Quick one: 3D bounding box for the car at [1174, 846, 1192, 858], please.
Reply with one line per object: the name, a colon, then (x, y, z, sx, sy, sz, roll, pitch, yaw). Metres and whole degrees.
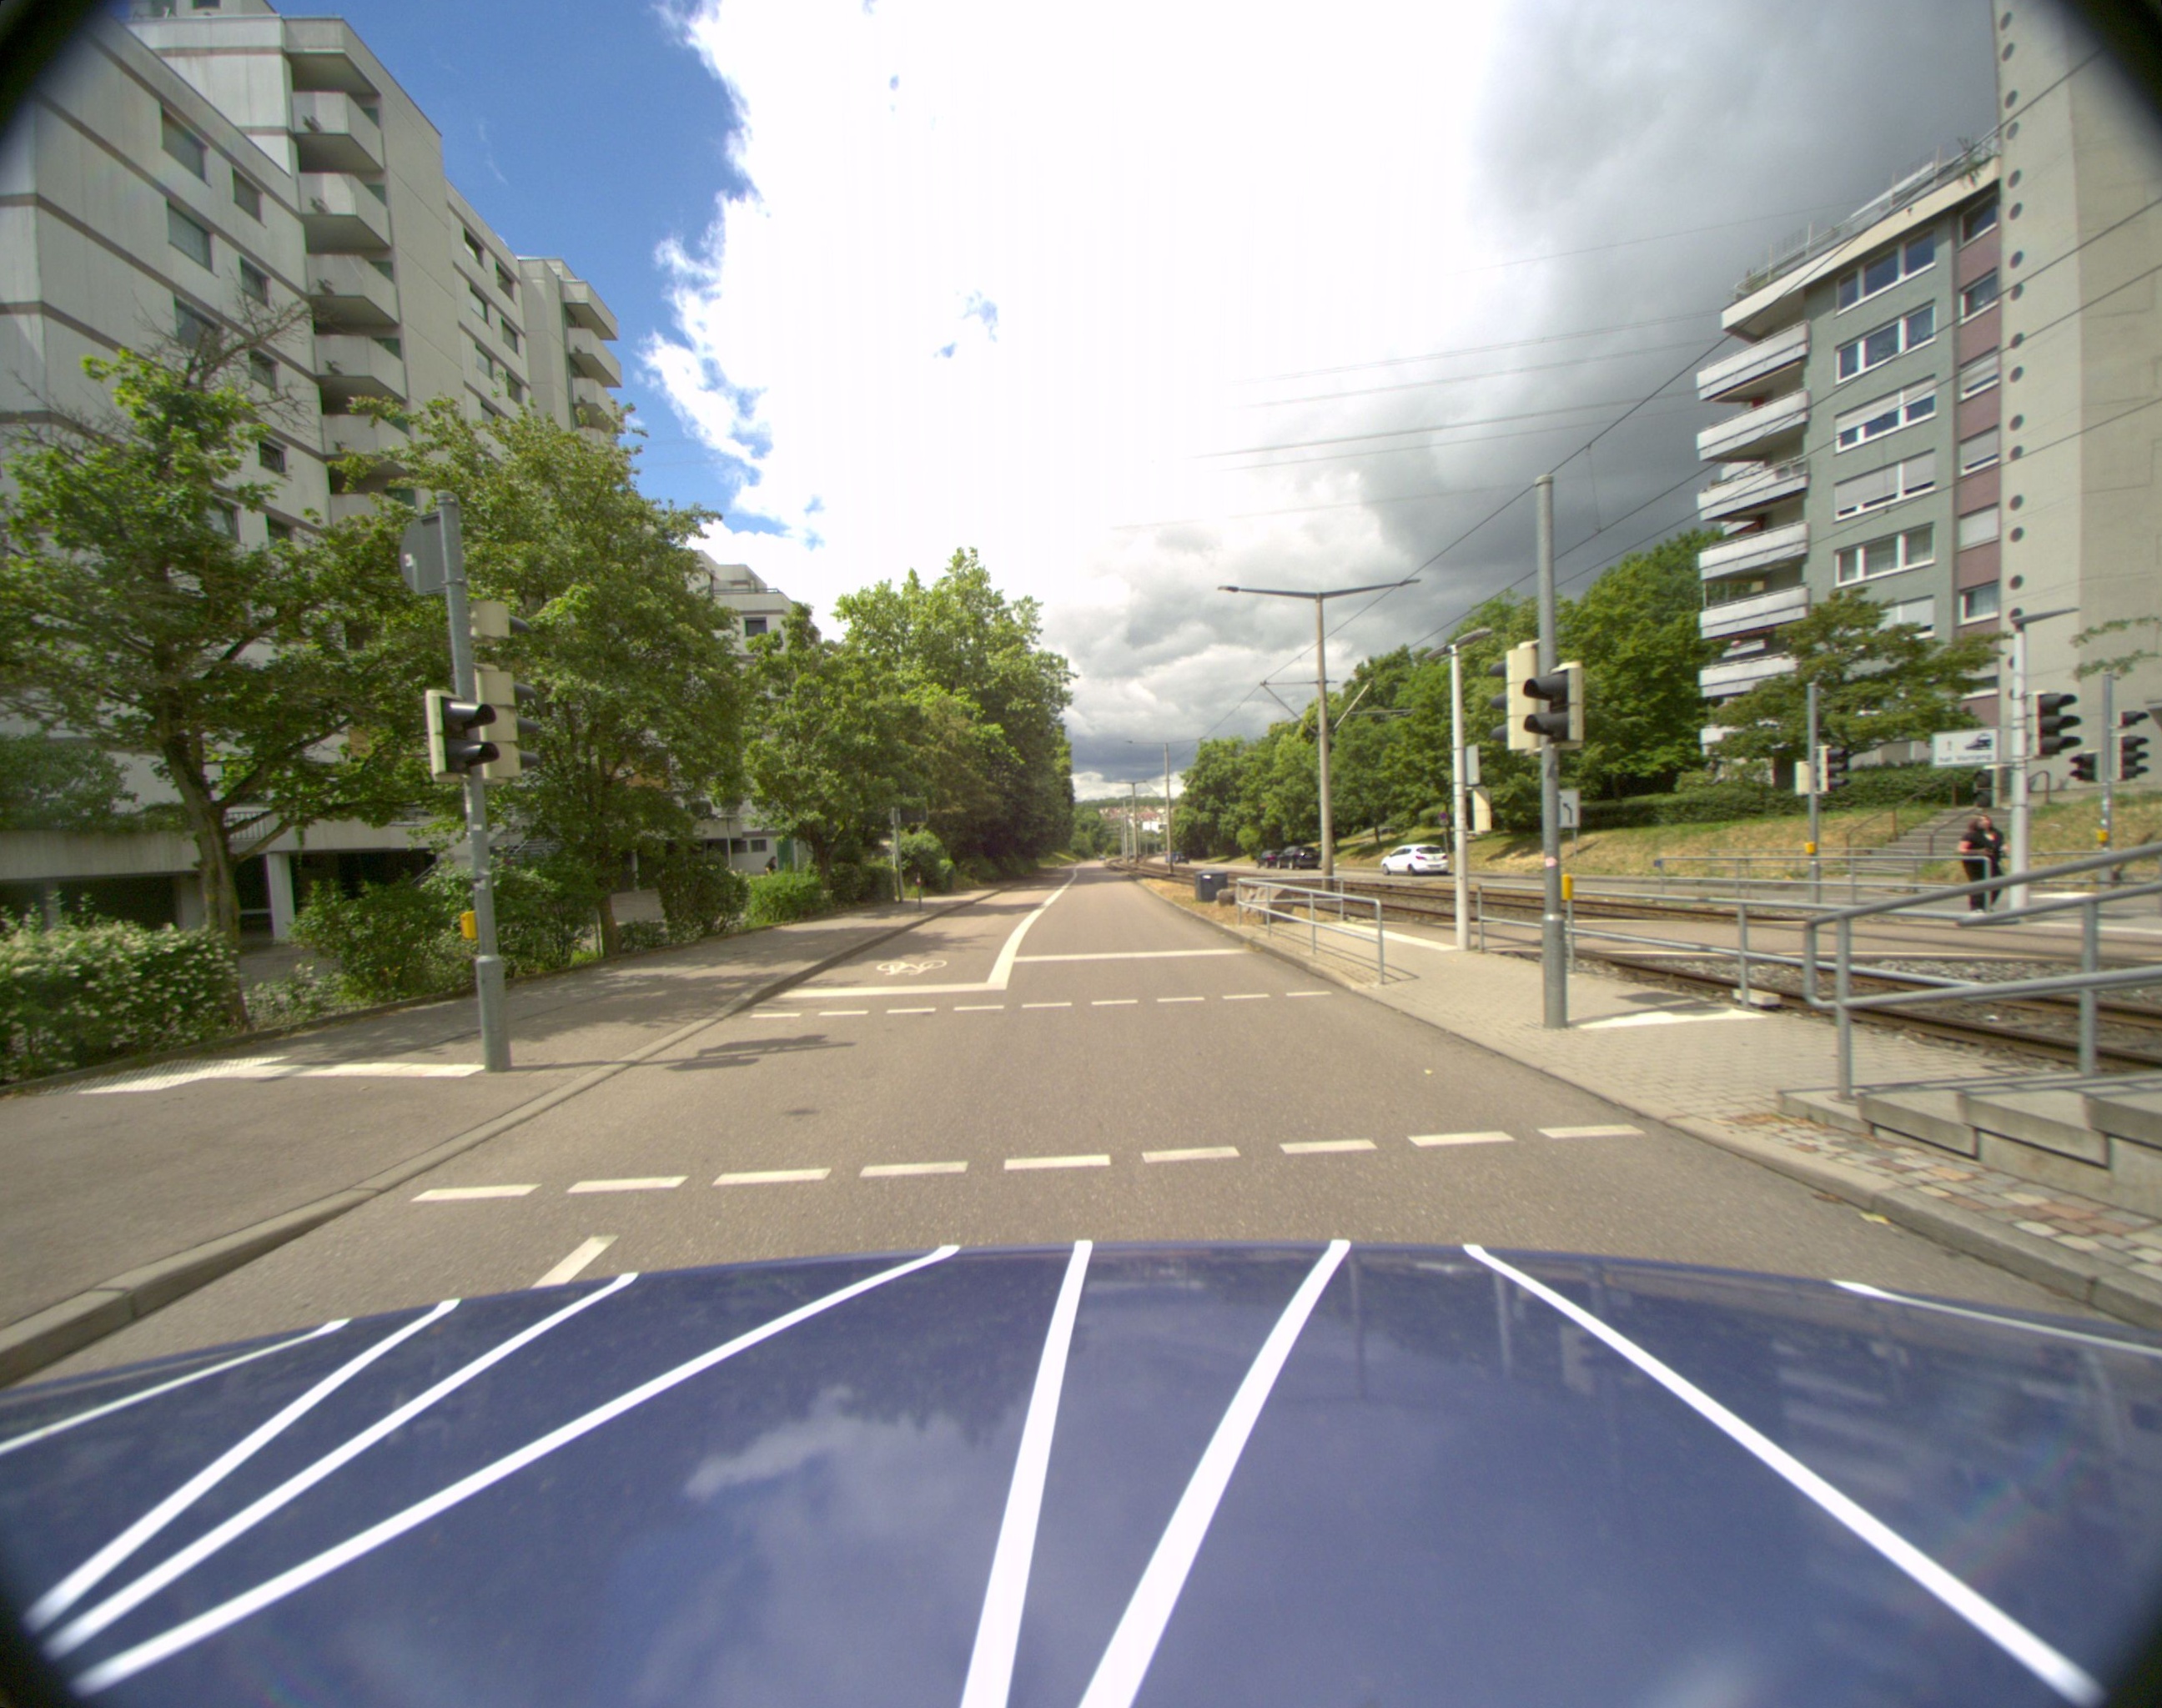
car: (12.716, -0.234, 95.180, 1.659, 1.503, 3.737, -2, 0, -2)

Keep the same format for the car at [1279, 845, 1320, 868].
car: (15.295, 0.144, 53.295, 1.659, 1.503, 3.737, -2, 0, -2)

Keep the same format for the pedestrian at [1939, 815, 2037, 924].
pedestrian: (13.584, 0.226, 11.407, 0.689, 1.554, 0.825, -3, 1, 32)

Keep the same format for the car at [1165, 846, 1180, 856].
car: (13.376, -0.403, 111.065, 1.636, 1.446, 3.737, -2, 0, -2)

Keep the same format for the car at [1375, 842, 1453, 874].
car: (15.934, 0.200, 36.554, 1.659, 1.410, 3.998, -2, 0, -5)

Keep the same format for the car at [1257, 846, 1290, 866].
car: (15.106, 0.167, 59.717, 1.605, 1.431, 3.469, -2, 0, -2)
